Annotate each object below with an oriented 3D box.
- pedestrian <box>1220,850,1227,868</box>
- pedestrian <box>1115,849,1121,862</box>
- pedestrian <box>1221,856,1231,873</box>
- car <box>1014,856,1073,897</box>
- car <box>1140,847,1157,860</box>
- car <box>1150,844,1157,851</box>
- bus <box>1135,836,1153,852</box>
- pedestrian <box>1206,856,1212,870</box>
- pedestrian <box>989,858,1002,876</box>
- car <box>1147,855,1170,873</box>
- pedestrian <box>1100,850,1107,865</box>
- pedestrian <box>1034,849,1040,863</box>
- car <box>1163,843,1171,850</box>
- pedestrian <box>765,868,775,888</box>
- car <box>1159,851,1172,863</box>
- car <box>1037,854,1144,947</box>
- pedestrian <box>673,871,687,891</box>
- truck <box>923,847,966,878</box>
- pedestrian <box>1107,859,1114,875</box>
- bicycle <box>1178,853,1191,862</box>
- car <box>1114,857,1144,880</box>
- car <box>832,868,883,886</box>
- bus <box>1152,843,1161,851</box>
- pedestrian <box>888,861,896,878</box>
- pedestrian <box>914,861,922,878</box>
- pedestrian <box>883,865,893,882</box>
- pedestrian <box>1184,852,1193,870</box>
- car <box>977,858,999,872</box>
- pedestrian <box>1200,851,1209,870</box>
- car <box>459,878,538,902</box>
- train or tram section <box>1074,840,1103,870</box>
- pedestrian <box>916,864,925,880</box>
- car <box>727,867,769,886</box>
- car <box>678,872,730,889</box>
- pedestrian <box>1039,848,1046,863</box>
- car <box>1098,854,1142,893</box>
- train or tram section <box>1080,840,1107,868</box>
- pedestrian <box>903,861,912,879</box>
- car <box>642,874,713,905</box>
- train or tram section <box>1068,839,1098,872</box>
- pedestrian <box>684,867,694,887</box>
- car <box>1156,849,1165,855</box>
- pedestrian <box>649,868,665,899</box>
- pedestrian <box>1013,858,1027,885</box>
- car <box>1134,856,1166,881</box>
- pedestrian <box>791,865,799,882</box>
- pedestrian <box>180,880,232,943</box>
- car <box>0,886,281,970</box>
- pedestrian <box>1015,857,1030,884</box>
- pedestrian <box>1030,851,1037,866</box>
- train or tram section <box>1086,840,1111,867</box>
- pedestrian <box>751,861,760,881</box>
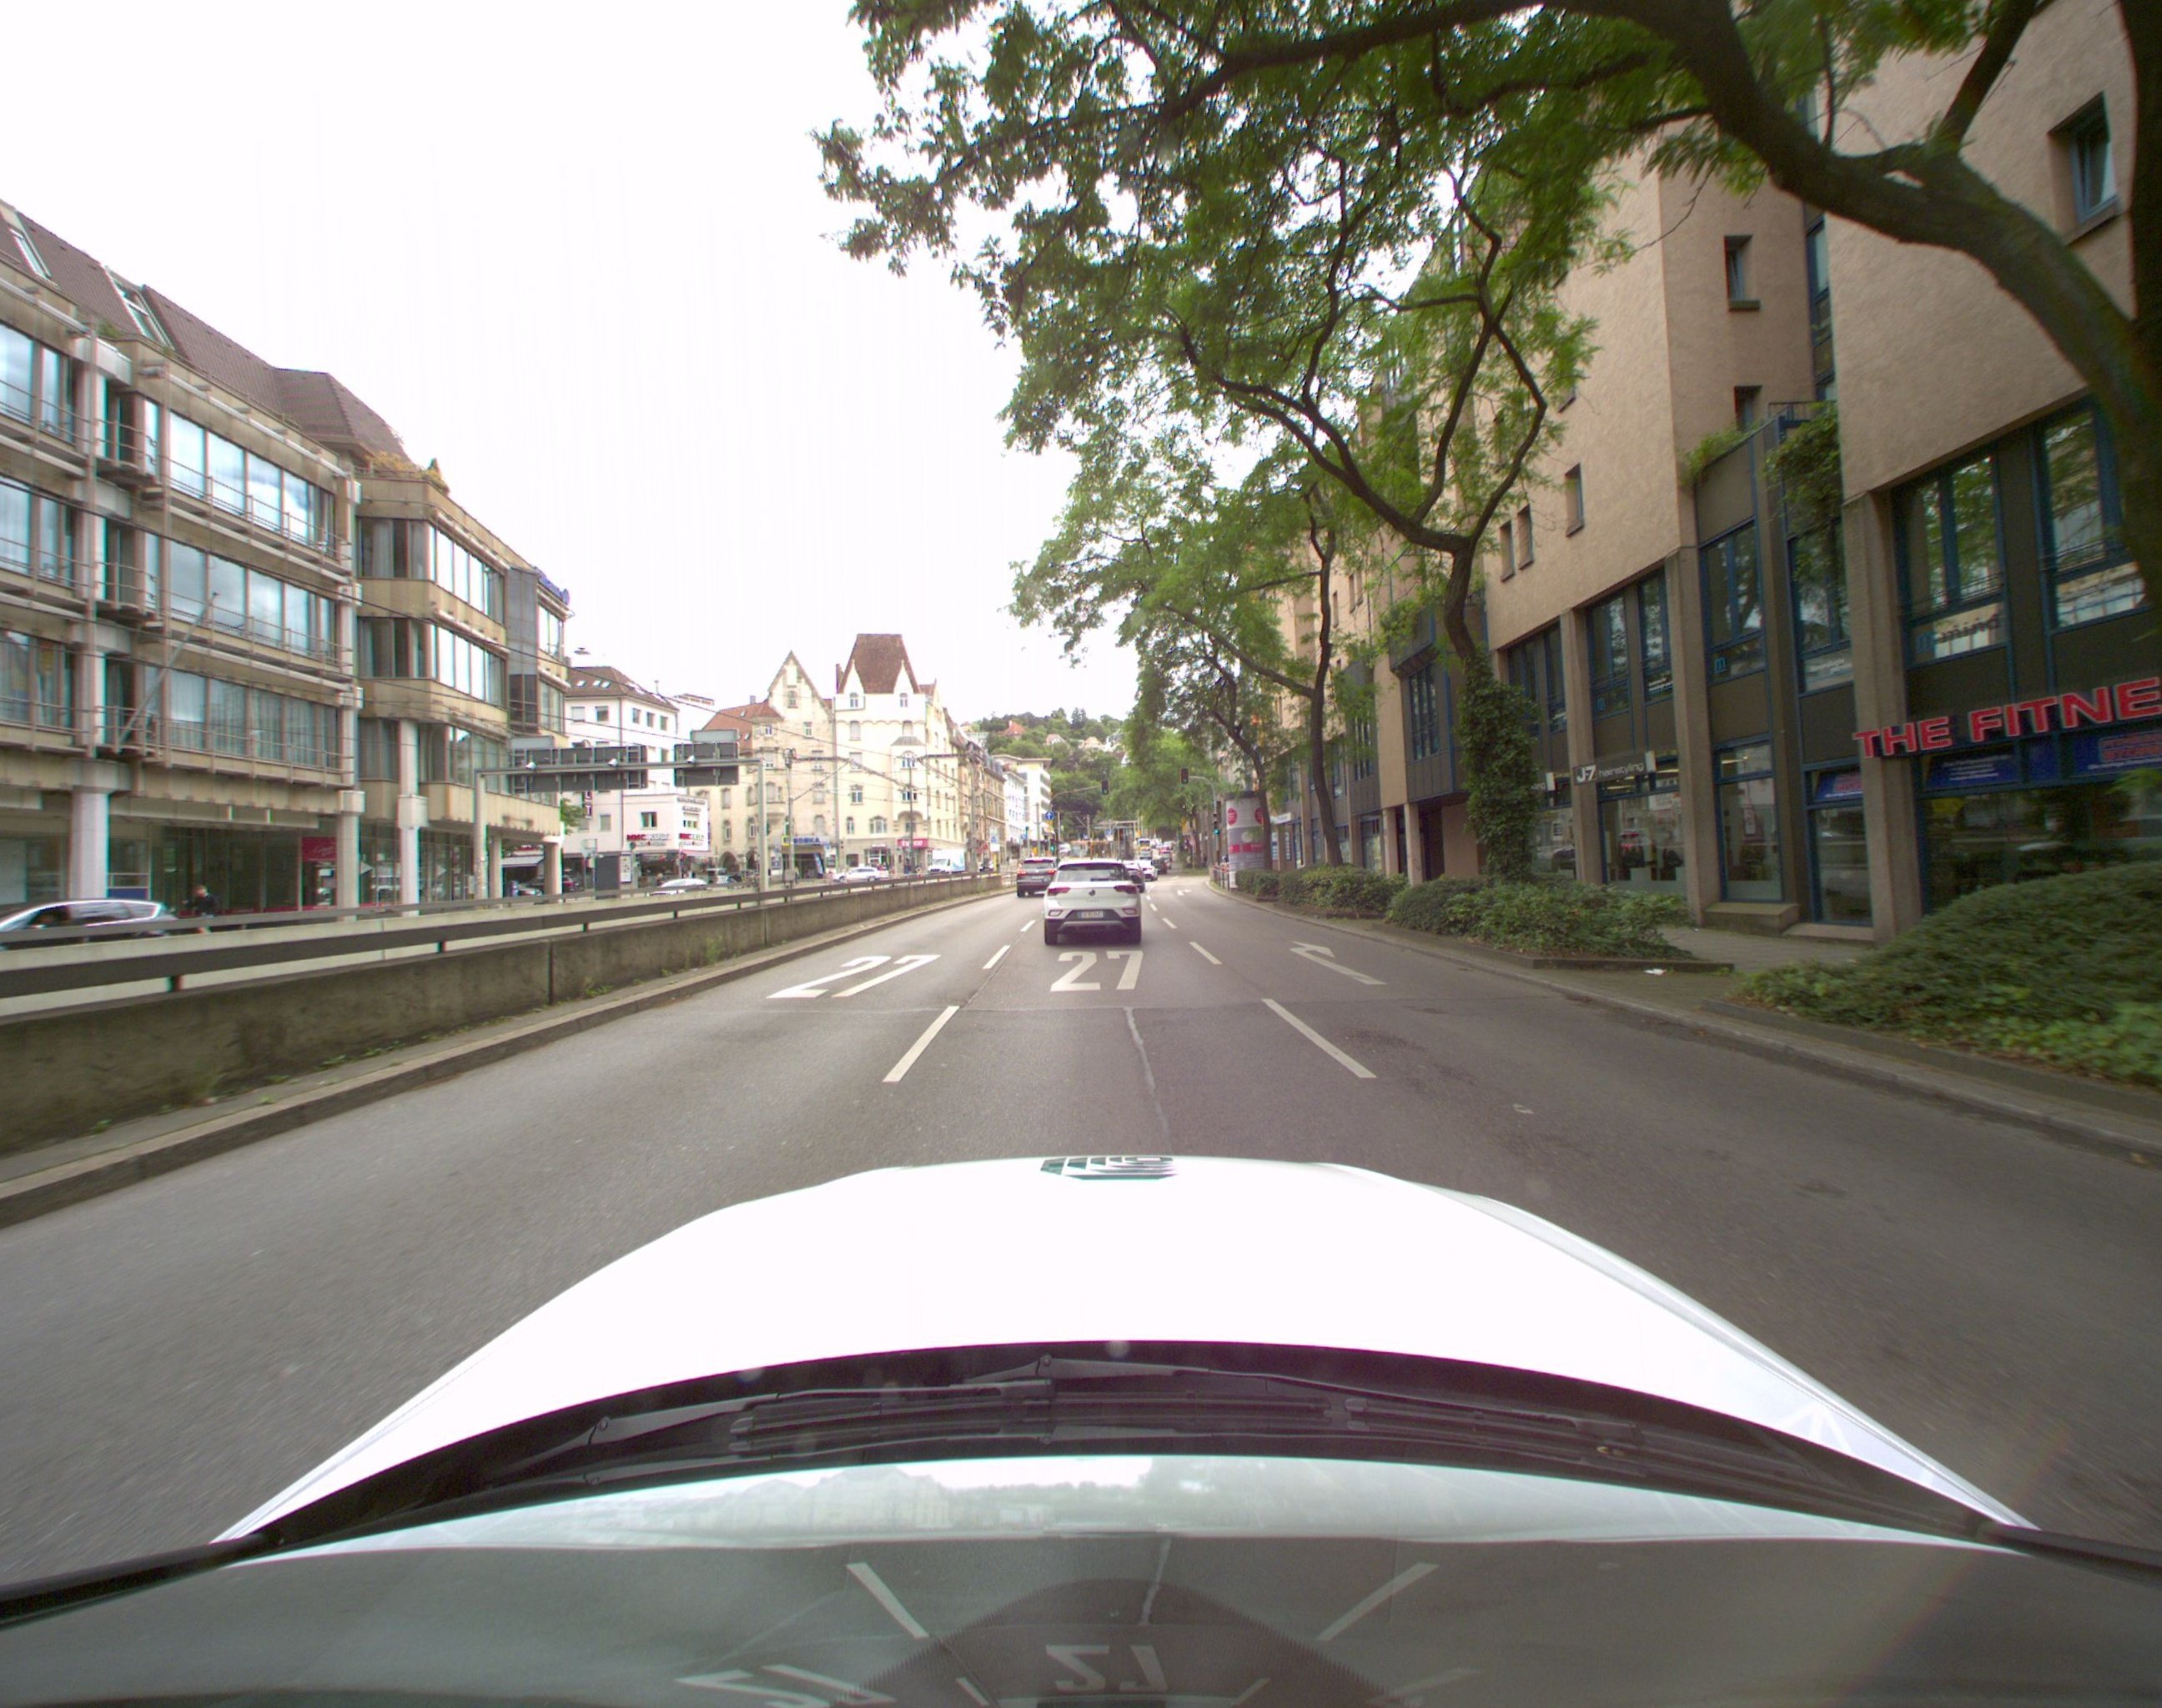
[{"bbox_3d":[14.005,0.507,80.181,0.516,1.789,0.765,-1,-1,2],"label":"pedestrian"},{"bbox_3d":[5.223,0.215,114.350,0.714,1.731,0.672,-1,-1,7],"label":"pedestrian"},{"bbox_3d":[13.825,0.988,77.574,0.756,1.612,0.621,-3,2,18],"label":"pedestrian"},{"bbox_3d":[-1.557,0.927,35.172,1.984,1.636,4.005,-1,-1,5],"label":"car"},{"bbox_3d":[11.041,-0.012,133.413,2.350,2.014,5.162,-1,-1,10],"label":"car"},{"bbox_3d":[18.545,-1.679,207.760,1.665,1.561,3.993,-1,-1,6],"label":"car"},{"bbox_3d":[13.198,-1.967,169.689,3.354,3.065,13.347,-1,-1,6],"label":"bus"},{"bbox_3d":[13.039,0.919,83.018,0.469,1.333,0.520,-1,-1,2],"label":"pedestrian"},{"bbox_3d":[-8.292,1.247,79.214,0.866,1.705,0.817,-2,-1,35],"label":"pedestrian"},{"bbox_3d":[8.906,1.167,94.116,2.356,2.014,5.149,-1,-1,1],"label":"car"},{"bbox_3d":[2.476,0.396,90.229,0.682,1.711,0.713,-2,0,6],"label":"pedestrian"},{"bbox_3d":[-5.499,0.276,101.523,0.634,1.711,0.689,-2,0,-3],"label":"pedestrian"},{"bbox_3d":[20.445,-1.674,193.661,1.665,1.561,3.685,-1,-1,6],"label":"car"},{"bbox_3d":[-28.175,2.196,73.774,0.505,1.780,0.579,-2,-1,18],"label":"pedestrian"},{"bbox_3d":[12.825,0.439,122.985,1.875,1.684,4.169,-1,-1,7],"label":"car"},{"bbox_3d":[0.163,0.820,16.181,1.832,1.584,4.156,-1,-1,0],"label":"car"},{"bbox_3d":[-34.793,2.336,70.694,0.777,1.705,0.655,-2,-1,12],"label":"pedestrian"},{"bbox_3d":[-14.280,0.920,85.626,2.253,3.076,7.391,-1,-1,9],"label":"truck"},{"bbox_3d":[3.050,1.358,84.824,0.632,1.711,0.873,-2,0,6],"label":"pedestrian"},{"bbox_3d":[14.131,0.520,111.173,1.610,1.128,0.615,-4,0,10],"label":"bicycle"},{"bbox_3d":[4.530,1.343,76.034,2.351,2.014,5.159,-1,-1,8],"label":"car"},{"bbox_3d":[-21.397,2.173,78.069,4.519,1.561,1.741,-1,-1,-24],"label":"car"},{"bbox_3d":[18.686,-1.678,202.257,1.986,2.014,4.001,-1,-1,2],"label":"bus"},{"bbox_3d":[-19.594,1.585,84.302,0.571,1.780,0.513,-2,-1,11],"label":"pedestrian"},{"bbox_3d":[-17.151,1.602,85.815,0.505,1.780,0.580,-2,-1,20],"label":"pedestrian"},{"bbox_3d":[-20.529,2.027,86.725,0.780,1.780,0.672,-2,-1,37],"label":"pedestrian"},{"bbox_3d":[11.240,0.699,85.388,0.690,1.777,0.690,-6,-1,2],"label":"pedestrian"},{"bbox_3d":[-11.904,1.417,104.386,1.665,1.759,4.791,-1,-1,7],"label":"car"},{"bbox_3d":[12.700,0.651,83.978,0.718,1.802,0.835,-4,2,2],"label":"pedestrian"},{"bbox_3d":[-40.389,2.461,56.570,3.986,1.530,1.945,-1,-1,-9],"label":"car"},{"bbox_3d":[0.973,0.070,100.396,2.820,3.521,5.763,-1,0,7],"label":"train or tram section"},{"bbox_3d":[-17.214,1.899,87.376,0.667,1.677,0.695,-2,-1,24],"label":"pedestrian"},{"bbox_3d":[-34.285,2.357,83.813,3.739,1.684,1.645,-4,-1,20],"label":"car"},{"bbox_3d":[-36.645,2.561,79.255,4.466,1.561,1.761,-1,-1,15],"label":"car"},{"bbox_3d":[-4.736,0.219,99.303,0.623,1.762,0.848,-2,-1,7],"label":"pedestrian"},{"bbox_3d":[1.831,0.865,37.280,1.877,1.684,4.165,-1,-1,3],"label":"car"},{"bbox_3d":[1.670,-0.021,106.121,2.820,3.521,5.763,-1,0,7],"label":"train or tram section"},{"bbox_3d":[-18.169,1.664,85.256,0.703,1.780,0.599,-2,-1,22],"label":"pedestrian"},{"bbox_3d":[-21.839,1.896,44.225,1.657,1.501,4.045,-2,0,2],"label":"car"},{"bbox_3d":[0.279,0.096,94.660,2.820,3.678,5.763,-1,0,7],"label":"train or tram section"},{"bbox_3d":[-35.350,2.039,73.502,0.505,1.780,0.601,-2,-1,18],"label":"pedestrian"},{"bbox_3d":[15.773,-0.317,161.326,1.574,1.172,3.685,-1,-1,6],"label":"car"},{"bbox_3d":[-24.576,1.696,47.191,0.507,1.780,0.578,-2,-1,8],"label":"pedestrian"},{"bbox_3d":[-3.881,1.105,52.048,0.760,1.721,0.638,-2,-1,6],"label":"pedestrian"},{"bbox_3d":[4.764,1.010,57.069,1.879,1.684,4.160,-1,-1,0],"label":"car"},{"bbox_3d":[-30.989,2.139,88.280,0.580,1.780,0.505,-1,-1,-44],"label":"pedestrian"},{"bbox_3d":[-26.207,1.709,24.407,0.728,1.811,0.740,-1,-1,1],"label":"pedestrian"},{"bbox_3d":[-21.692,1.615,18.944,1.657,1.501,4.415,-2,0,2],"label":"car"},{"bbox_3d":[-3.805,1.052,52.739,0.788,1.721,0.774,-2,-1,6],"label":"pedestrian"},{"bbox_3d":[-5.671,0.570,97.336,0.684,1.711,0.663,-2,0,5],"label":"pedestrian"},{"bbox_3d":[2.395,-0.082,111.870,2.820,3.521,5.763,-1,0,7],"label":"train or tram section"},{"bbox_3d":[-29.805,1.567,74.548,0.569,1.780,0.515,-2,-1,32],"label":"pedestrian"}]
